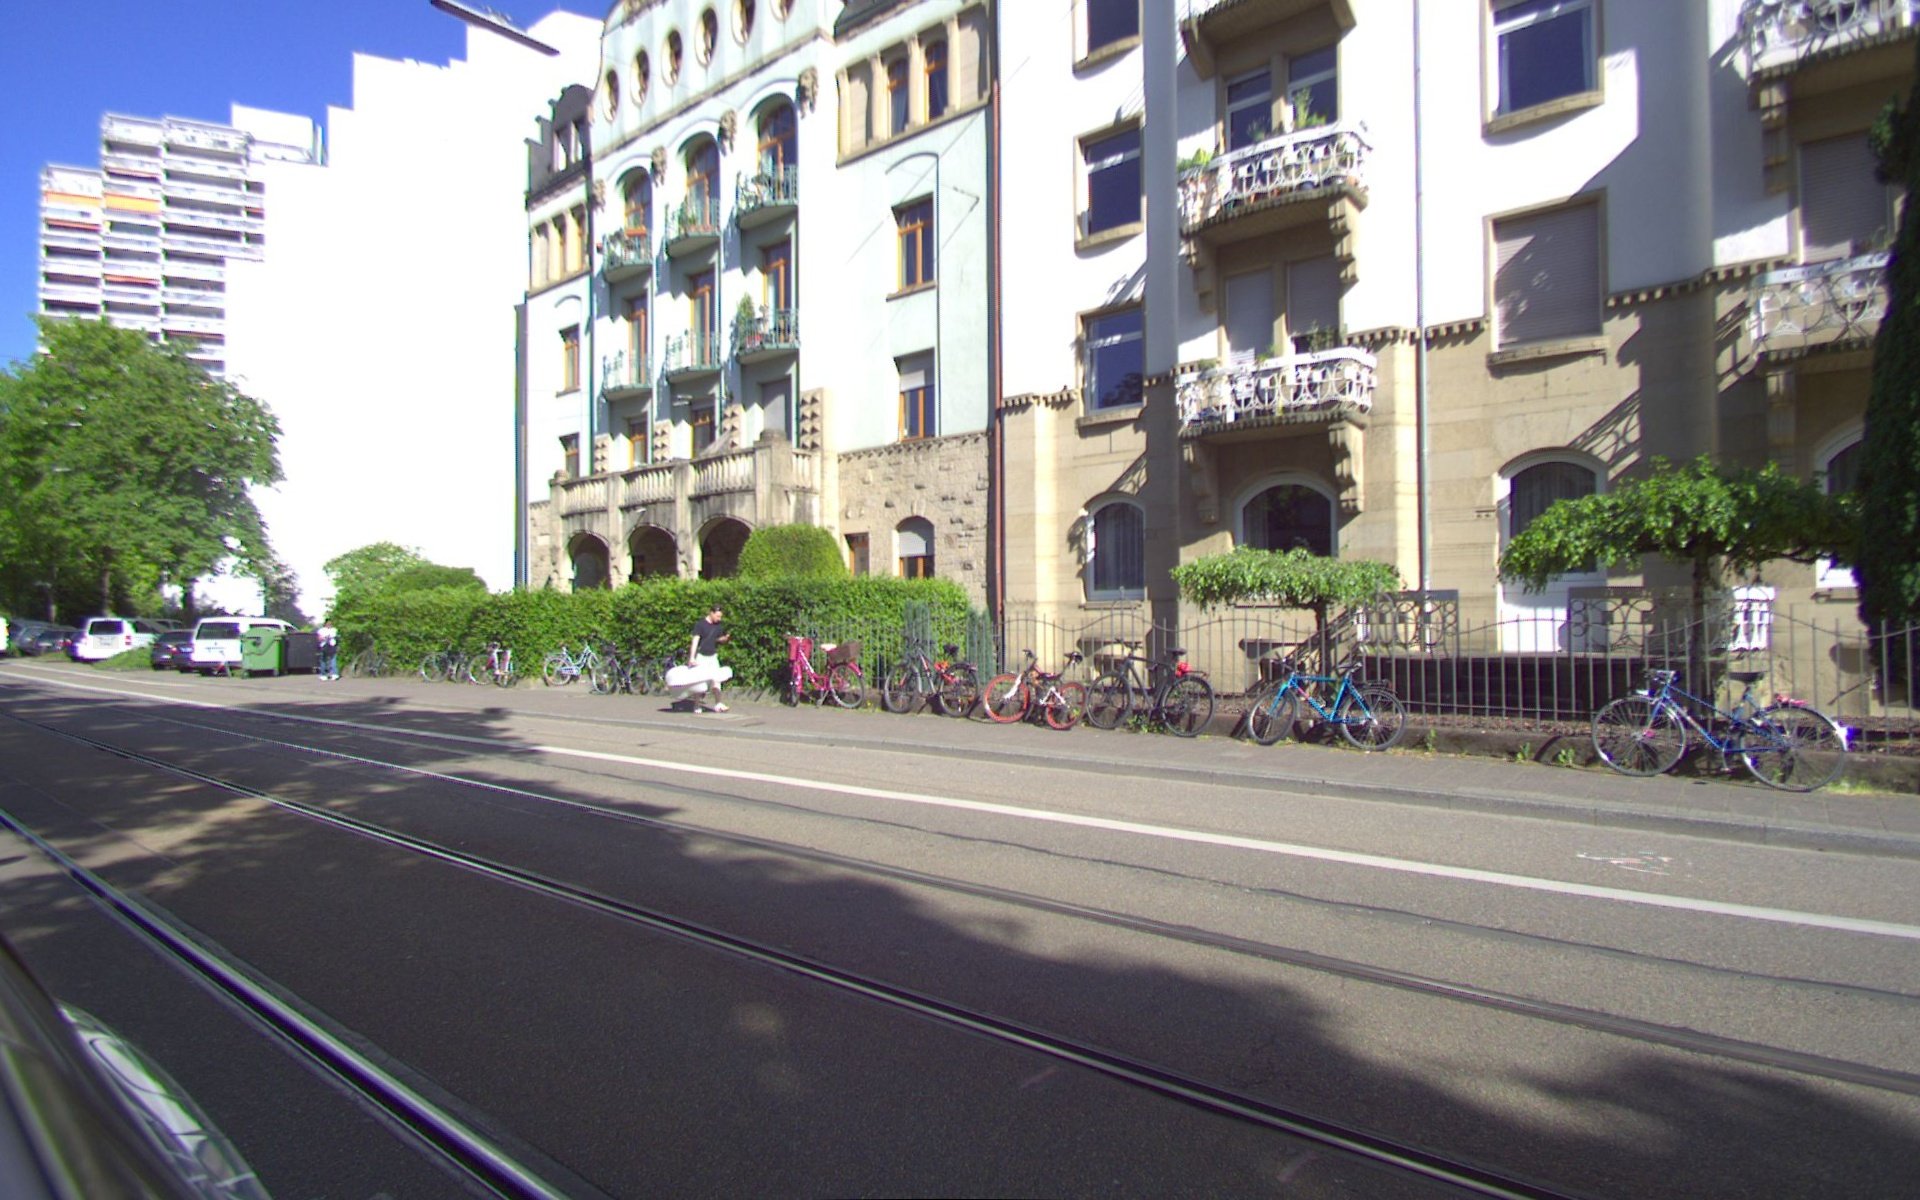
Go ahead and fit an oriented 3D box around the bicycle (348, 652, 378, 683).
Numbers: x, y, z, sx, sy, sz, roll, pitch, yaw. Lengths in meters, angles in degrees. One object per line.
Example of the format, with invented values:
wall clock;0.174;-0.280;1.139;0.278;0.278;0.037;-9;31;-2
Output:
bicycle;-15.645;1.760;26.495;1.263;0.767;0.293;-1;0;41

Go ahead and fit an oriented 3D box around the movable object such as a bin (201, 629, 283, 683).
movable object such as a bin;-20.815;1.589;29.339;2.095;1.443;1.493;-1;0;41

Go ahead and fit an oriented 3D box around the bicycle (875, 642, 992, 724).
bicycle;-0.391;1.118;14.018;1.815;1.031;0.400;-1;0;41

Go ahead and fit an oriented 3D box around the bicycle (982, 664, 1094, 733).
bicycle;0.968;1.226;12.858;1.542;0.767;0.314;-1;0;41

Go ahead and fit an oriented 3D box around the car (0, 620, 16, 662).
car;-47.118;1.979;48.820;1.968;1.918;4.008;-1;0;-39

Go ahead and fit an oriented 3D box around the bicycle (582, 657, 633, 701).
bicycle;-6.708;1.484;19.237;1.263;0.767;0.335;-1;0;41

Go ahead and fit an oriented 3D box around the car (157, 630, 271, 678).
car;-25.133;1.797;34.163;1.451;1.446;2.734;-1;0;24

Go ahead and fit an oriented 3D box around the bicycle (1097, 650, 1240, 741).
bicycle;2.398;1.079;11.783;1.648;0.949;0.400;-1;0;41

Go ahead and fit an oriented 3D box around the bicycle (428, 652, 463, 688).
bicycle;-11.956;1.615;23.506;1.263;0.767;0.293;-1;0;41

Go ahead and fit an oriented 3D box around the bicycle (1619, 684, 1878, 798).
bicycle;6.411;1.119;8.306;1.651;0.767;0.314;-1;0;41

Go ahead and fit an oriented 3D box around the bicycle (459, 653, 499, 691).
bicycle;-10.611;1.582;22.324;1.263;0.767;0.314;-1;0;41

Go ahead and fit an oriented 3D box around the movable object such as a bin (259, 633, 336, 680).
movable object such as a bin;-20.463;1.717;31.262;2.095;1.326;1.482;-1;0;41

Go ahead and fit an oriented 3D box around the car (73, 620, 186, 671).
car;-33.300;1.793;40.696;1.894;1.885;3.447;-1;0;-4

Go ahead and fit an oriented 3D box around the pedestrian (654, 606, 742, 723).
pedestrian;-3.973;0.951;15.352;0.870;1.640;0.858;-1;4;41

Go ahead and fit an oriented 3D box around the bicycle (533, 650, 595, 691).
bicycle;-8.575;1.520;21.944;0.297;0.799;1.246;-1;0;41

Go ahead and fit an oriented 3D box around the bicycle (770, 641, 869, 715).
bicycle;-2.163;1.160;15.441;1.815;1.031;0.400;-1;0;41

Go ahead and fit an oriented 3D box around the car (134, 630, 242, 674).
car;-27.690;1.830;36.352;1.451;1.446;2.734;-1;0;24

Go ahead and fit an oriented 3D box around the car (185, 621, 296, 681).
car;-22.830;1.633;32.233;1.438;1.787;3.189;-1;-3;-5

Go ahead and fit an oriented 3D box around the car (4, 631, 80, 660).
car;-48.355;2.375;53.333;1.220;1.436;2.734;-1;0;24

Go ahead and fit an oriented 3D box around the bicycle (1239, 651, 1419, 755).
bicycle;3.829;1.042;10.605;1.748;0.949;0.400;-1;0;41

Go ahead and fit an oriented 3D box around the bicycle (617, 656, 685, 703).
bicycle;-5.582;1.417;18.241;1.581;0.767;0.400;-1;0;41

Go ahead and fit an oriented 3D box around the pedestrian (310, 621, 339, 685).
pedestrian;-16.477;1.360;26.243;0.659;1.641;0.469;-1;0;41

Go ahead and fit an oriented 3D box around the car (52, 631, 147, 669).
car;-36.171;2.083;42.592;1.451;1.446;2.734;-1;0;24

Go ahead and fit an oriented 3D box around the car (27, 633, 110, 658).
car;-42.928;2.178;48.770;1.220;1.097;2.734;-1;0;24
